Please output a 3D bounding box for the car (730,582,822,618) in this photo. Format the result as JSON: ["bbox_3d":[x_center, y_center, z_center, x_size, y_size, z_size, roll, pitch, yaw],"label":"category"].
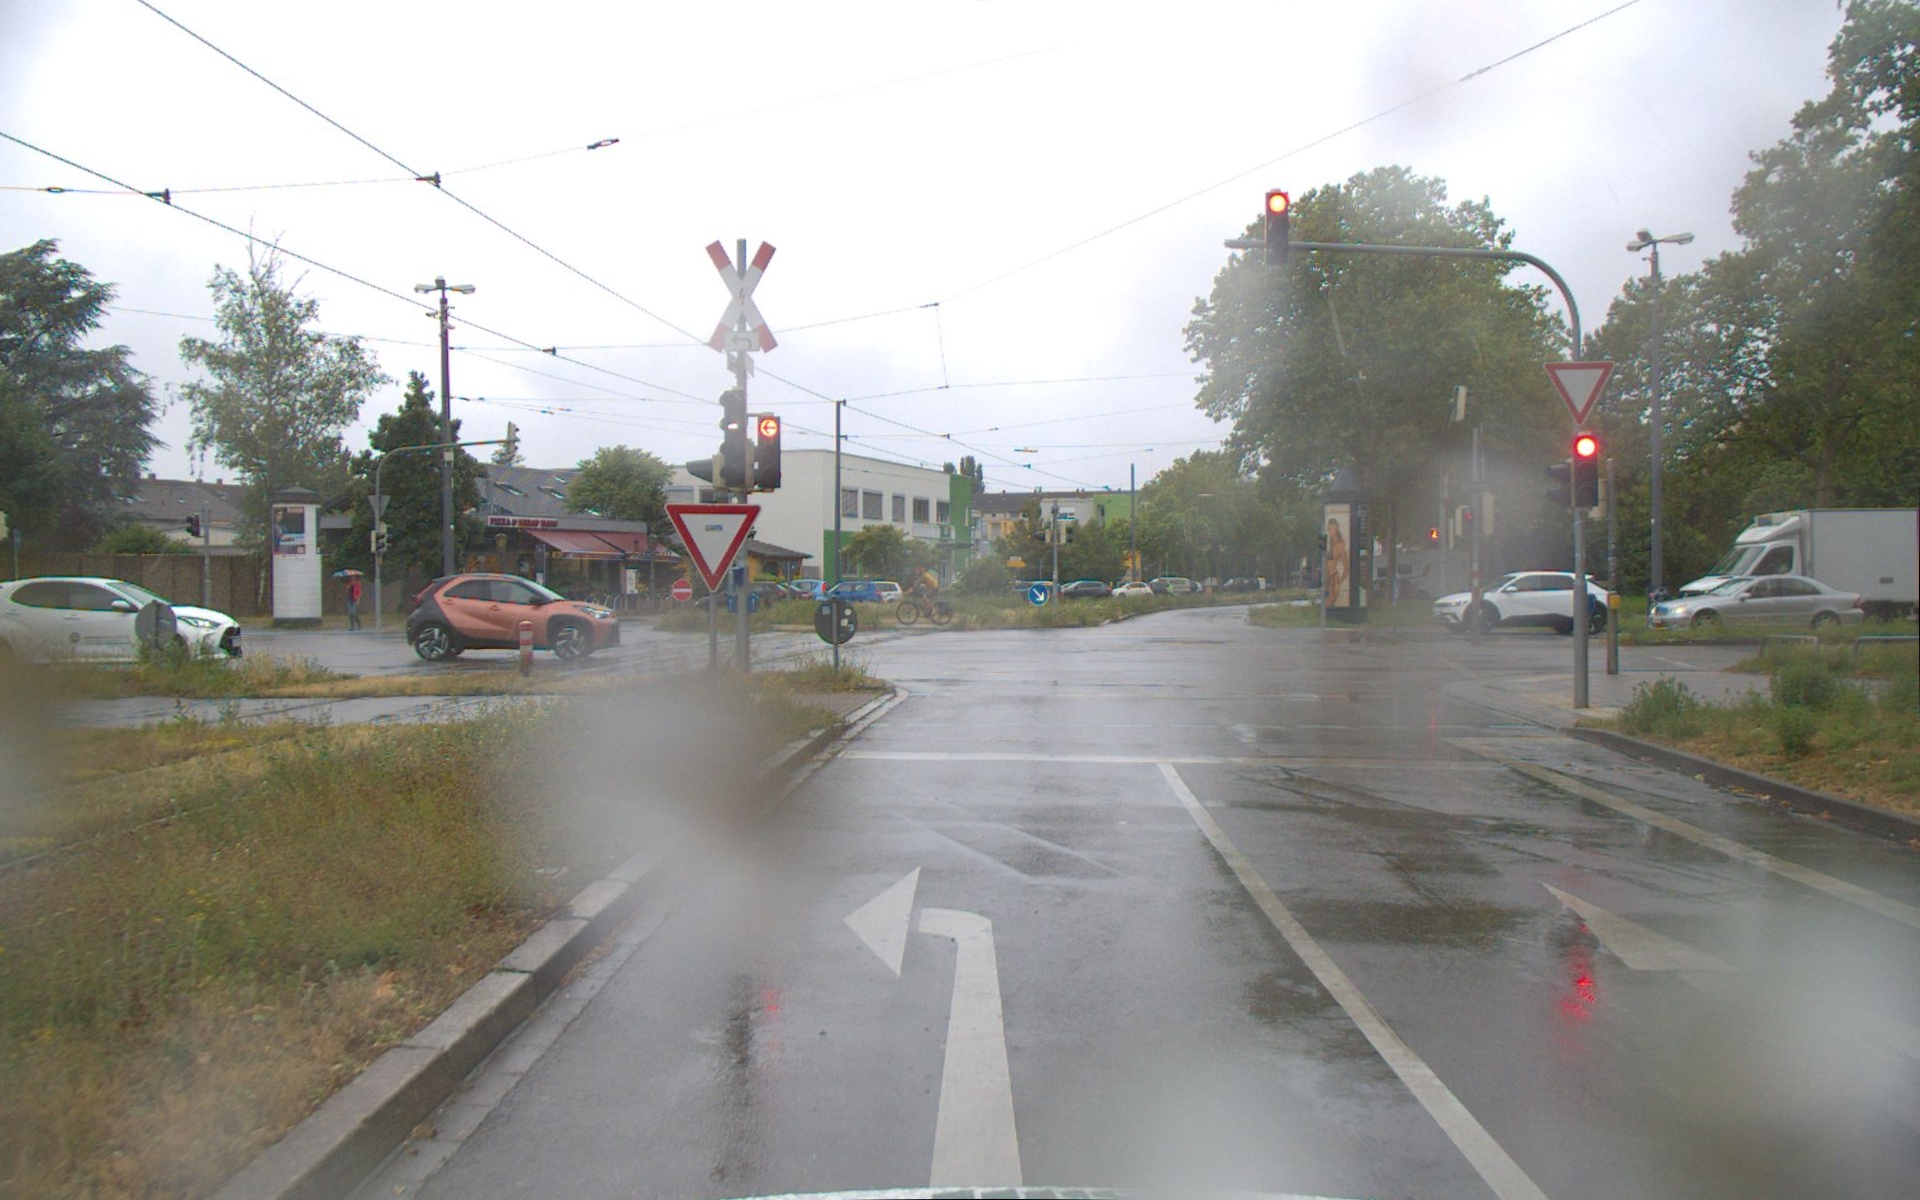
[{"bbox_3d":[-7.955,0.002,71.657,3.671,1.467,1.763,-1,0,3],"label":"car"}]

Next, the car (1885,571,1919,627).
[{"bbox_3d":[27.267,-0.043,44.197,4.115,1.447,1.765,0,0,-1],"label":"car"}]

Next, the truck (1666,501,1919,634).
[{"bbox_3d":[20.222,-0.779,40.115,5.359,3.112,1.980,0,0,-3],"label":"truck"}]

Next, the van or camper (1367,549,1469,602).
[{"bbox_3d":[24.730,-1.332,89.242,5.112,2.744,2.244,2,1,19],"label":"van or camper"}]

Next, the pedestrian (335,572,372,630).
[{"bbox_3d":[-19.029,0.032,51.897,0.797,1.794,0.894,-1,0,-44],"label":"pedestrian"}]

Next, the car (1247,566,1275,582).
[{"bbox_3d":[40.334,-3.450,221.654,3.371,2.049,1.809,-1,0,17],"label":"car"}]

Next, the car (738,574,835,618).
[{"bbox_3d":[-7.857,-0.173,75.114,4.047,1.892,1.675,-1,0,7],"label":"car"}]

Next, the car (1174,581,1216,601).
[{"bbox_3d":[23.161,-0.843,163.410,4.047,1.892,1.675,-1,0,7],"label":"car"}]

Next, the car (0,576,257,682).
[{"bbox_3d":[-13.315,0.439,25.778,3.988,1.525,1.649,-1,0,-7],"label":"car"}]

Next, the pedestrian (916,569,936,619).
[{"bbox_3d":[-1.048,-0.193,50.508,0.564,1.501,0.500,-1,0,1],"label":"pedestrian"}]

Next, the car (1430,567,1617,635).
[{"bbox_3d":[14.840,0.025,43.687,4.374,1.685,1.650,-1,0,-5],"label":"car"}]

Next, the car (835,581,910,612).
[{"bbox_3d":[-4.434,-0.171,83.314,3.677,1.467,1.760,-1,0,-6],"label":"car"}]

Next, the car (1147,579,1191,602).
[{"bbox_3d":[19.476,-0.882,154.218,4.047,2.010,1.675,-1,0,7],"label":"car"}]

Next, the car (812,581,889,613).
[{"bbox_3d":[-5.327,-0.131,80.038,3.677,1.467,1.760,-1,0,-6],"label":"car"}]

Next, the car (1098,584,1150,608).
[{"bbox_3d":[13.535,-0.297,136.425,4.053,1.892,1.672,-1,0,-4],"label":"car"}]

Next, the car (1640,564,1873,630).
[{"bbox_3d":[17.701,-0.073,36.857,4.422,1.414,1.644,0,0,-3],"label":"car"}]

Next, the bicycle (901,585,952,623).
[{"bbox_3d":[-1.026,0.127,50.505,1.529,1.121,0.500,-1,0,1],"label":"bicycle"}]

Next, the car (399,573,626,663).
[{"bbox_3d":[-8.076,0.315,30.126,3.745,1.525,1.650,-1,0,-7],"label":"car"}]
